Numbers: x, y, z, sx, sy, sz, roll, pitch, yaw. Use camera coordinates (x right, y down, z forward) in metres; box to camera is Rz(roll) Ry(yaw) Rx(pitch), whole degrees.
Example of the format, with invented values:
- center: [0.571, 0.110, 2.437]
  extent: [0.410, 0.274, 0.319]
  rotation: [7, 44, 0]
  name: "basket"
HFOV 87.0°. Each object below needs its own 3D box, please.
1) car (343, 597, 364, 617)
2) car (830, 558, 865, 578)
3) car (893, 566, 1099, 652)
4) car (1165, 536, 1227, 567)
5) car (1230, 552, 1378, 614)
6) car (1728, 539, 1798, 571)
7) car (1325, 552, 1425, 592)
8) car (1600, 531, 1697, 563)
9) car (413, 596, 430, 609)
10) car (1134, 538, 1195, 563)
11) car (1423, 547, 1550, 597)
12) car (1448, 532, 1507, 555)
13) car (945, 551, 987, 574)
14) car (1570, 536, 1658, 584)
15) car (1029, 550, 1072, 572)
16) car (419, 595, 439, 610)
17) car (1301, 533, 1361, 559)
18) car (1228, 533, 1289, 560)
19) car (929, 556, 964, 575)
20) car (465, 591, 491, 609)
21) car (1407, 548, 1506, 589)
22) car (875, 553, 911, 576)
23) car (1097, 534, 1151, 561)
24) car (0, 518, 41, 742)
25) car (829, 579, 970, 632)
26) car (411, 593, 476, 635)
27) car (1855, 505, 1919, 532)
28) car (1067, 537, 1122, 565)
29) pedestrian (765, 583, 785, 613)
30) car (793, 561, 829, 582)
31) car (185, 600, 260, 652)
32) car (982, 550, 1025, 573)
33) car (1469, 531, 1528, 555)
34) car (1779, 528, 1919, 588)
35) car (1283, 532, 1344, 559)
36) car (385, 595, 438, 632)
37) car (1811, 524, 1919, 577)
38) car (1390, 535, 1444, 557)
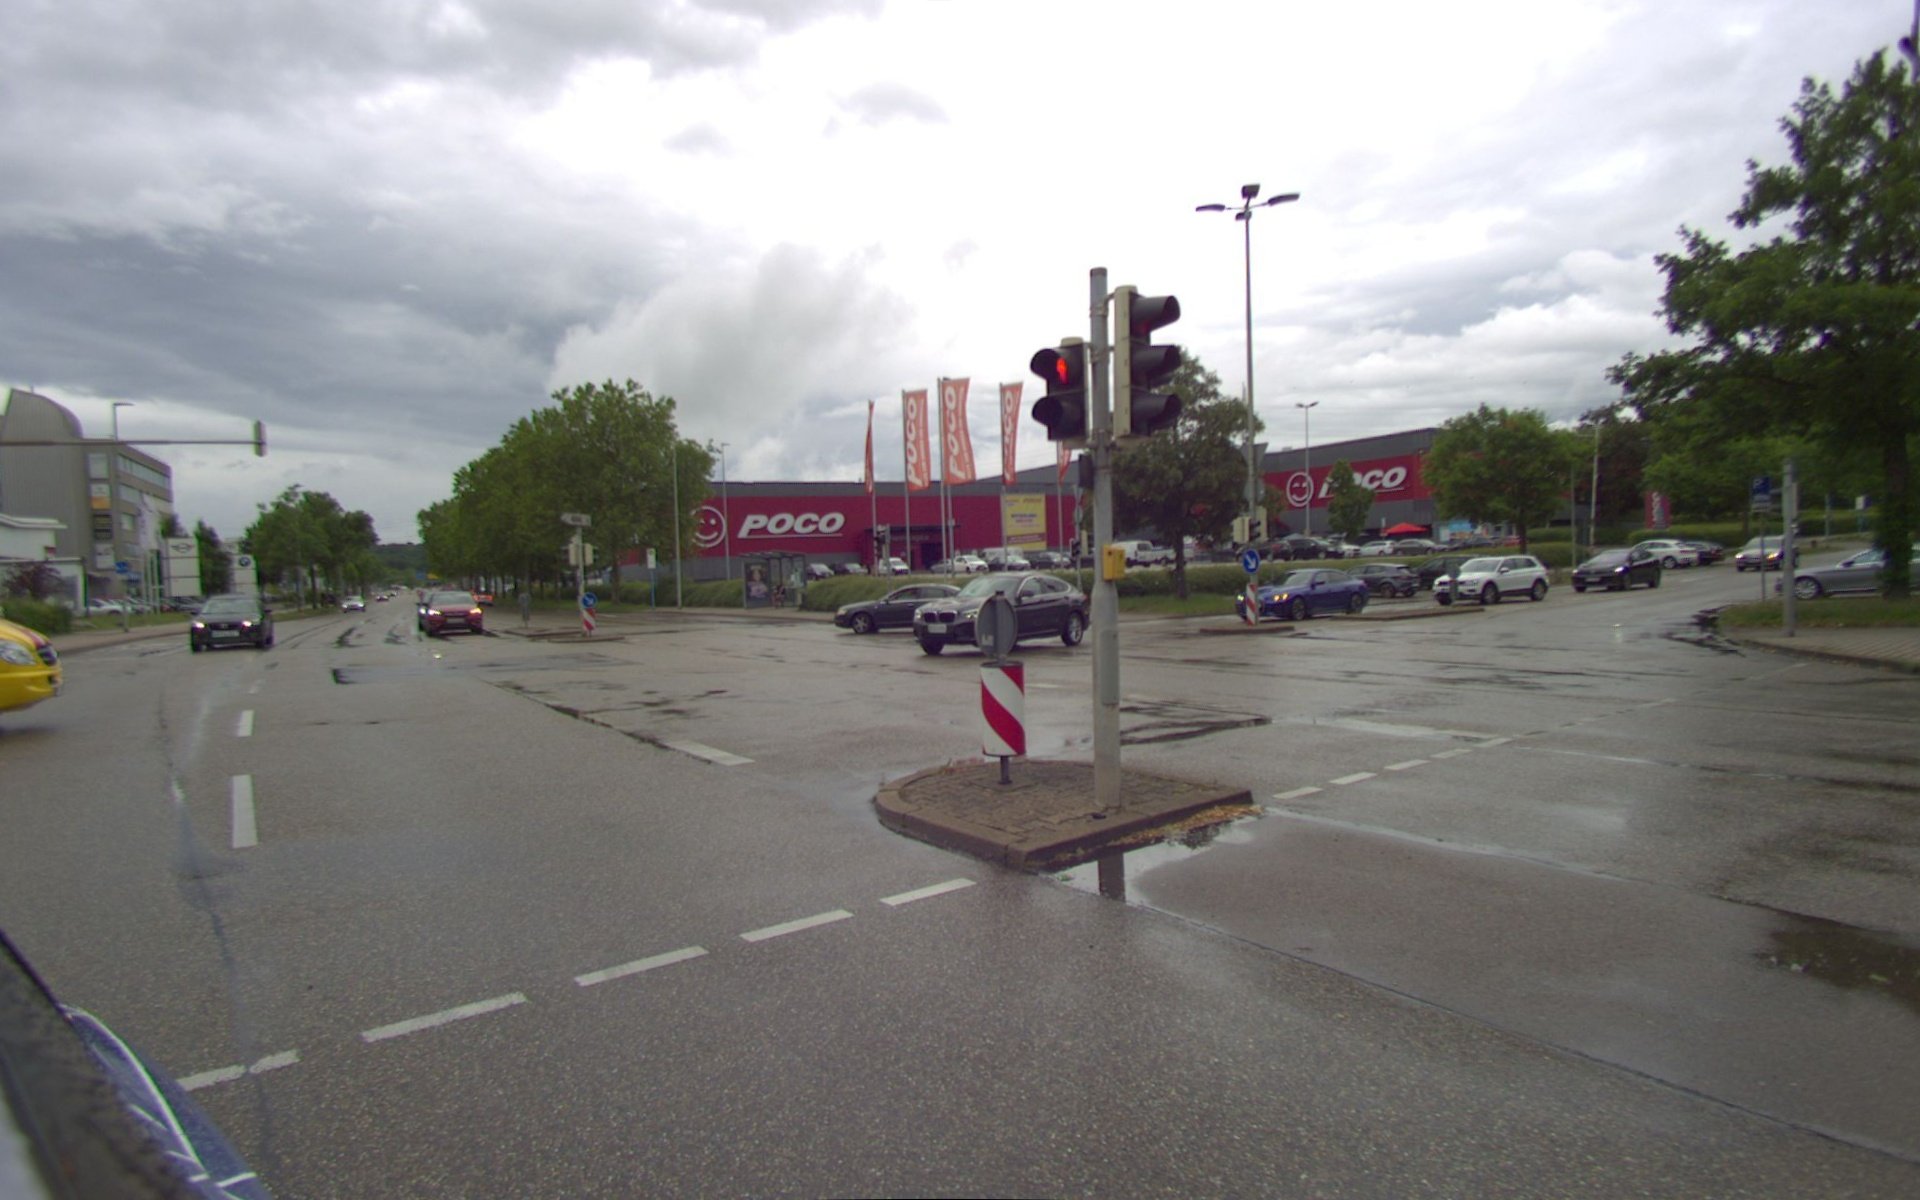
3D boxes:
- center: [-54.633, 0.611, 91.152]
  extent: [1.594, 1.741, 3.689]
  rotation: [-2, 0, -31]
  name: "car"
- center: [-10.354, -2.889, 92.877]
  extent: [1.668, 1.657, 3.975]
  rotation: [-2, 1, -29]
  name: "car"
- center: [0.876, 0.127, 21.194]
  extent: [1.900, 1.564, 4.531]
  rotation: [-1, 1, 40]
  name: "car"
- center: [20.294, -4.162, 87.387]
  extent: [1.795, 2.320, 5.665]
  rotation: [-2, 1, -29]
  name: "car"
- center: [10.104, -0.518, 29.599]
  extent: [4.477, 1.645, 1.806]
  rotation: [-2, 1, -36]
  name: "car"
- center: [40.080, -2.235, 50.479]
  extent: [3.612, 1.467, 1.707]
  rotation: [-2, 1, -34]
  name: "car"
- center: [17.931, -1.205, 43.820]
  extent: [1.657, 1.564, 3.669]
  rotation: [-3, 1, -37]
  name: "car"
- center: [39.691, -3.039, 58.417]
  extent: [1.657, 1.621, 4.297]
  rotation: [-2, 1, -33]
  name: "car"
- center: [-73.272, 0.334, 137.717]
  extent: [1.812, 1.600, 4.012]
  rotation: [-2, 1, -30]
  name: "car"
- center: [13.254, -3.214, 65.798]
  extent: [1.644, 1.391, 3.921]
  rotation: [-2, 1, -29]
  name: "car"
- center: [18.044, -0.955, 34.657]
  extent: [3.931, 1.565, 1.908]
  rotation: [-2, -1, -28]
  name: "car"
- center: [40.672, -4.430, 79.655]
  extent: [1.644, 1.657, 3.839]
  rotation: [-2, 1, -29]
  name: "car"
- center: [0.463, -3.026, 82.283]
  extent: [1.644, 1.657, 3.975]
  rotation: [-2, 1, -29]
  name: "car"
- center: [25.770, -1.573, 39.853]
  extent: [3.480, 1.709, 1.606]
  rotation: [-4, 2, -32]
  name: "car"
- center: [7.577, -3.296, 85.132]
  extent: [1.644, 1.657, 3.975]
  rotation: [-2, 1, -29]
  name: "car"
- center: [-62.724, 0.292, 119.495]
  extent: [1.812, 1.600, 4.012]
  rotation: [-2, 1, -30]
  name: "car"
- center: [26.338, -3.840, 71.926]
  extent: [1.644, 1.657, 3.839]
  rotation: [-2, 1, -29]
  name: "car"
- center: [19.972, -3.563, 67.794]
  extent: [1.644, 1.657, 3.839]
  rotation: [-2, 1, -29]
  name: "car"
- center: [-1.325, -3.333, 97.704]
  extent: [1.668, 1.657, 3.975]
  rotation: [-2, 1, -29]
  name: "car"
- center: [-45.687, 0.008, 95.908]
  extent: [1.812, 1.600, 4.012]
  rotation: [-2, 0, -30]
  name: "car"
- center: [22.684, -1.431, 46.327]
  extent: [1.657, 1.737, 3.669]
  rotation: [-2, 1, -37]
  name: "car"
- center: [-6.315, -3.309, 94.798]
  extent: [1.761, 1.940, 3.761]
  rotation: [-2, 1, -31]
  name: "car"
- center: [11.208, -3.600, 69.281]
  extent: [1.604, 1.657, 3.839]
  rotation: [-2, 1, -29]
  name: "car"
- center: [-13.278, 0.397, 10.703]
  extent: [4.931, 2.492, 2.253]
  rotation: [-2, 0, -34]
  name: "car"
- center: [-1.770, 0.141, 30.339]
  extent: [3.951, 1.414, 1.786]
  rotation: [-2, 1, 6]
  name: "car"
- center: [-19.189, 0.491, 37.542]
  extent: [1.690, 1.475, 4.011]
  rotation: [0, 0, -34]
  name: "car"
- center: [74.853, -6.554, 81.369]
  extent: [1.826, 1.807, 4.009]
  rotation: [-2, 1, -37]
  name: "car"
- center: [8.915, -3.236, 67.346]
  extent: [1.644, 1.657, 3.839]
  rotation: [-2, 1, -29]
  name: "car"
- center: [-9.174, -0.086, 50.178]
  extent: [0.768, 1.442, 0.643]
  rotation: [-1, 0, -34]
  name: "pedestrian"
- center: [-12.764, -2.455, 86.567]
  extent: [1.668, 1.657, 3.975]
  rotation: [-2, 1, -29]
  name: "car"
- center: [-23.208, 0.774, 31.957]
  extent: [1.726, 1.475, 4.011]
  rotation: [-2, 1, -34]
  name: "car"
- center: [3.569, -3.130, 82.917]
  extent: [1.644, 1.657, 3.975]
  rotation: [-2, 1, -29]
  name: "car"
- center: [43.057, -4.530, 80.993]
  extent: [1.644, 1.657, 3.839]
  rotation: [-2, 1, -29]
  name: "car"
- center: [26.665, -1.204, 28.784]
  extent: [1.968, 1.560, 4.912]
  rotation: [-2, 0, -37]
  name: "car"
- center: [24.382, -3.740, 69.980]
  extent: [1.644, 1.657, 3.839]
  rotation: [-2, 1, -29]
  name: "car"
- center: [-23.051, 0.537, 42.494]
  extent: [1.669, 1.407, 3.713]
  rotation: [-2, 1, -32]
  name: "car"
- center: [30.640, -1.624, 32.614]
  extent: [1.898, 1.601, 4.597]
  rotation: [-3, 1, -37]
  name: "car"
- center: [38.144, -4.470, 84.495]
  extent: [1.644, 1.657, 3.839]
  rotation: [-2, 1, -29]
  name: "car"
